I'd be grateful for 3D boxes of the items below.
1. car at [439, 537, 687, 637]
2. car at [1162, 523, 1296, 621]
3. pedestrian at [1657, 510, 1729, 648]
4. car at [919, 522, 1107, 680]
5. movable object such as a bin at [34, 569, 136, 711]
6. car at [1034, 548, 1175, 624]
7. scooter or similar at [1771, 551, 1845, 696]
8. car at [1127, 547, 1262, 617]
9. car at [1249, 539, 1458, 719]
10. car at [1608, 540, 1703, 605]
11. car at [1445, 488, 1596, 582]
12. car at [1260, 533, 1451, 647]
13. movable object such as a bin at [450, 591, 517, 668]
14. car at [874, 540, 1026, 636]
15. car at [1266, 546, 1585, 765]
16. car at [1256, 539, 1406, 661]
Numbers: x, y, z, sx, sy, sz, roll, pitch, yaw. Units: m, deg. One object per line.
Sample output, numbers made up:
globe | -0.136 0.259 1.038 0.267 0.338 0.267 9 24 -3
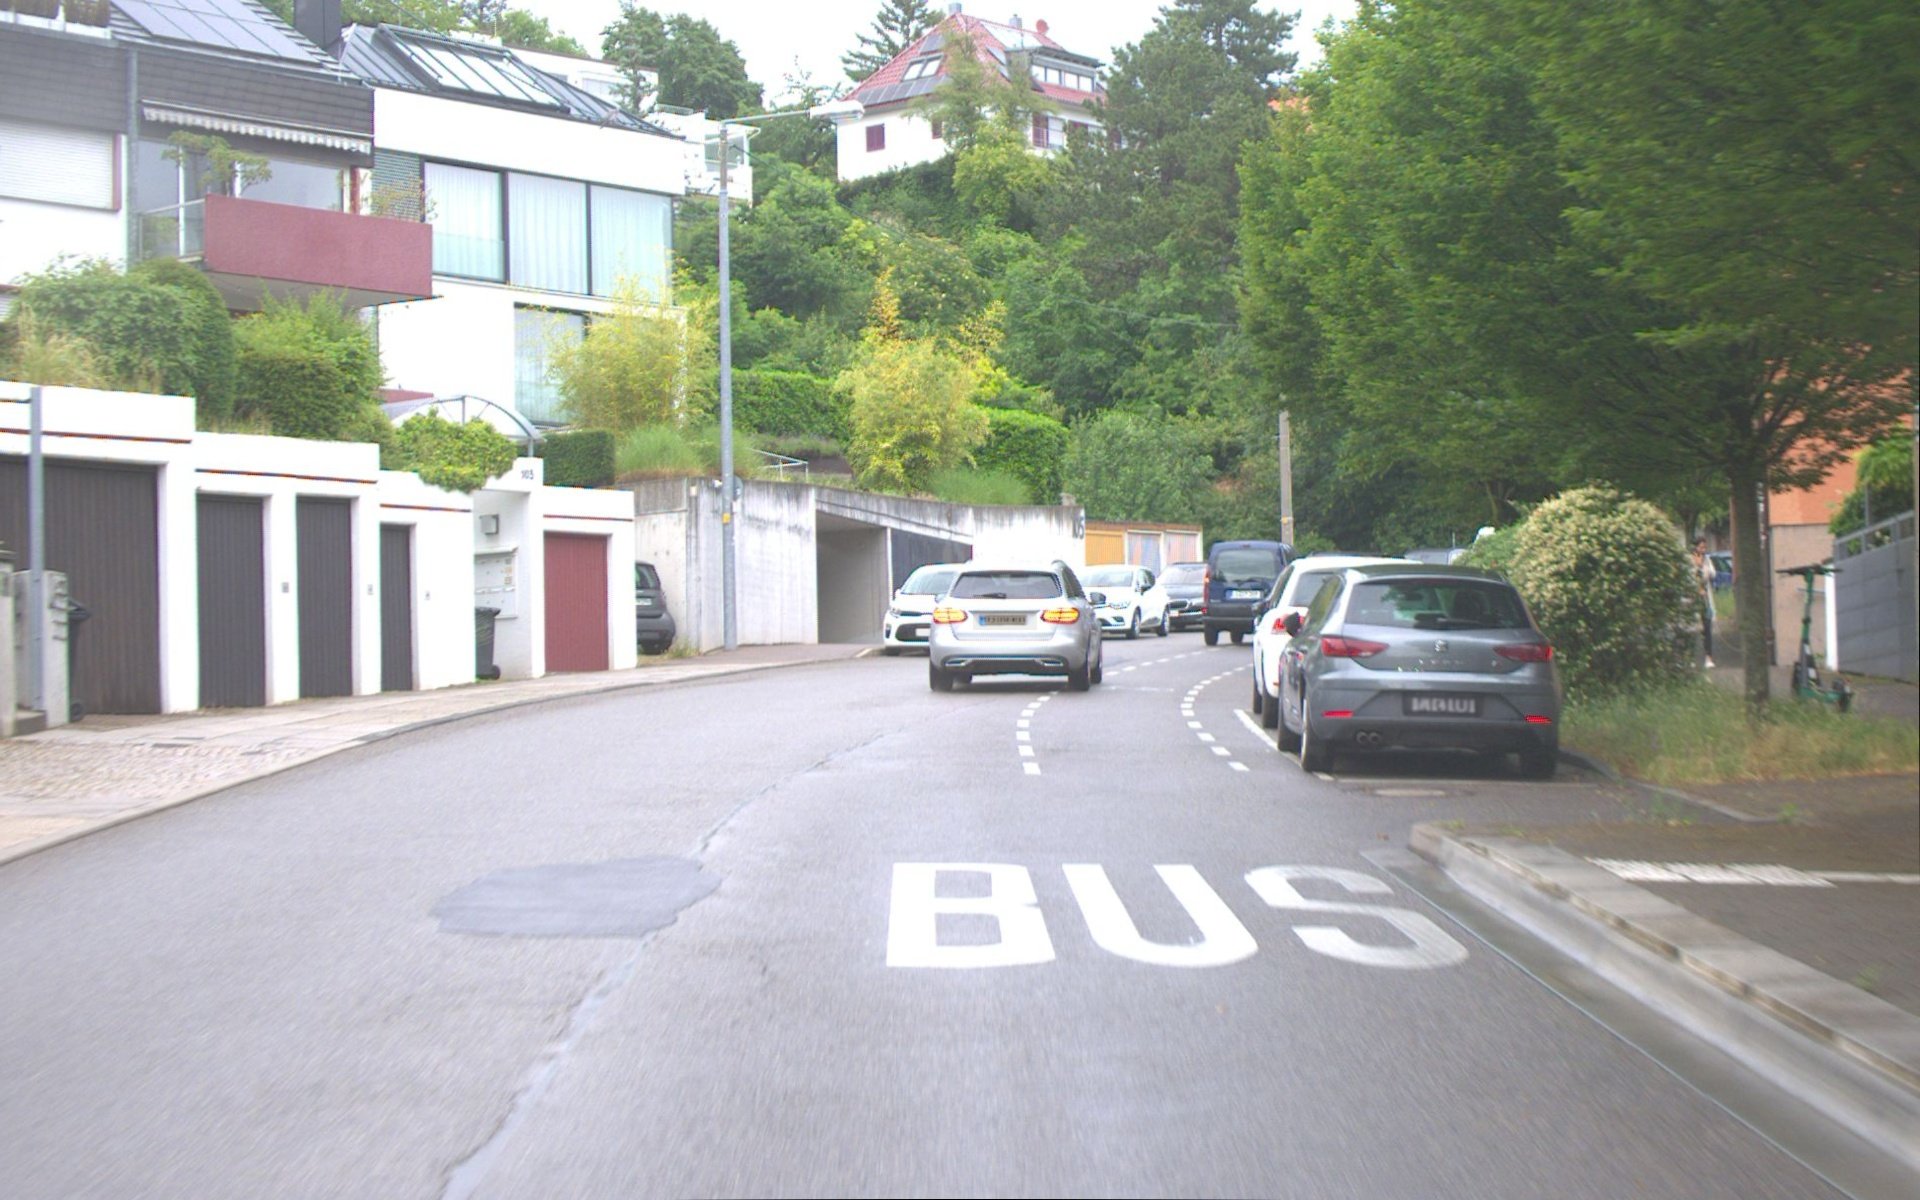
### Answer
car | -6.402 -0.232 55.242 3.928 1.473 1.763 2 2 42
car | 4.834 -0.512 61.385 1.994 1.702 3.998 0 1 10
pedestrian | 9.370 -0.271 43.967 0.760 1.714 0.902 -3 1 8
car | 0.615 -0.020 39.290 2.025 1.702 4.215 0 1 1
movable object such as a bin | -7.155 0.325 28.117 0.528 1.142 0.599 1 0 44
car | 2.910 -0.299 68.332 1.834 1.435 4.037 -1 1 17
scooter or similar | 7.456 0.196 30.261 0.413 1.241 1.175 -1 1 3
car | 5.143 -0.411 74.776 1.714 1.454 4.678 -1 1 20
car | 3.503 0.211 31.168 1.657 1.484 4.000 1 1 4
car | 17.193 -0.705 84.904 1.629 1.557 3.018 1 1 25
car | 16.047 -1.885 98.122 2.098 2.541 6.087 -1 1 31
car | 6.114 -0.188 52.630 2.055 1.650 5.232 0 1 16
movable object such as a bin | -6.045 0.368 43.605 0.544 0.960 0.644 1 2 39
car | -0.130 -0.221 56.900 1.628 1.510 3.830 -1 1 14
car | 3.276 0.332 24.955 1.878 1.412 4.467 0 1 2
car | 5.097 -0.038 46.776 1.855 1.575 4.856 0 1 8
